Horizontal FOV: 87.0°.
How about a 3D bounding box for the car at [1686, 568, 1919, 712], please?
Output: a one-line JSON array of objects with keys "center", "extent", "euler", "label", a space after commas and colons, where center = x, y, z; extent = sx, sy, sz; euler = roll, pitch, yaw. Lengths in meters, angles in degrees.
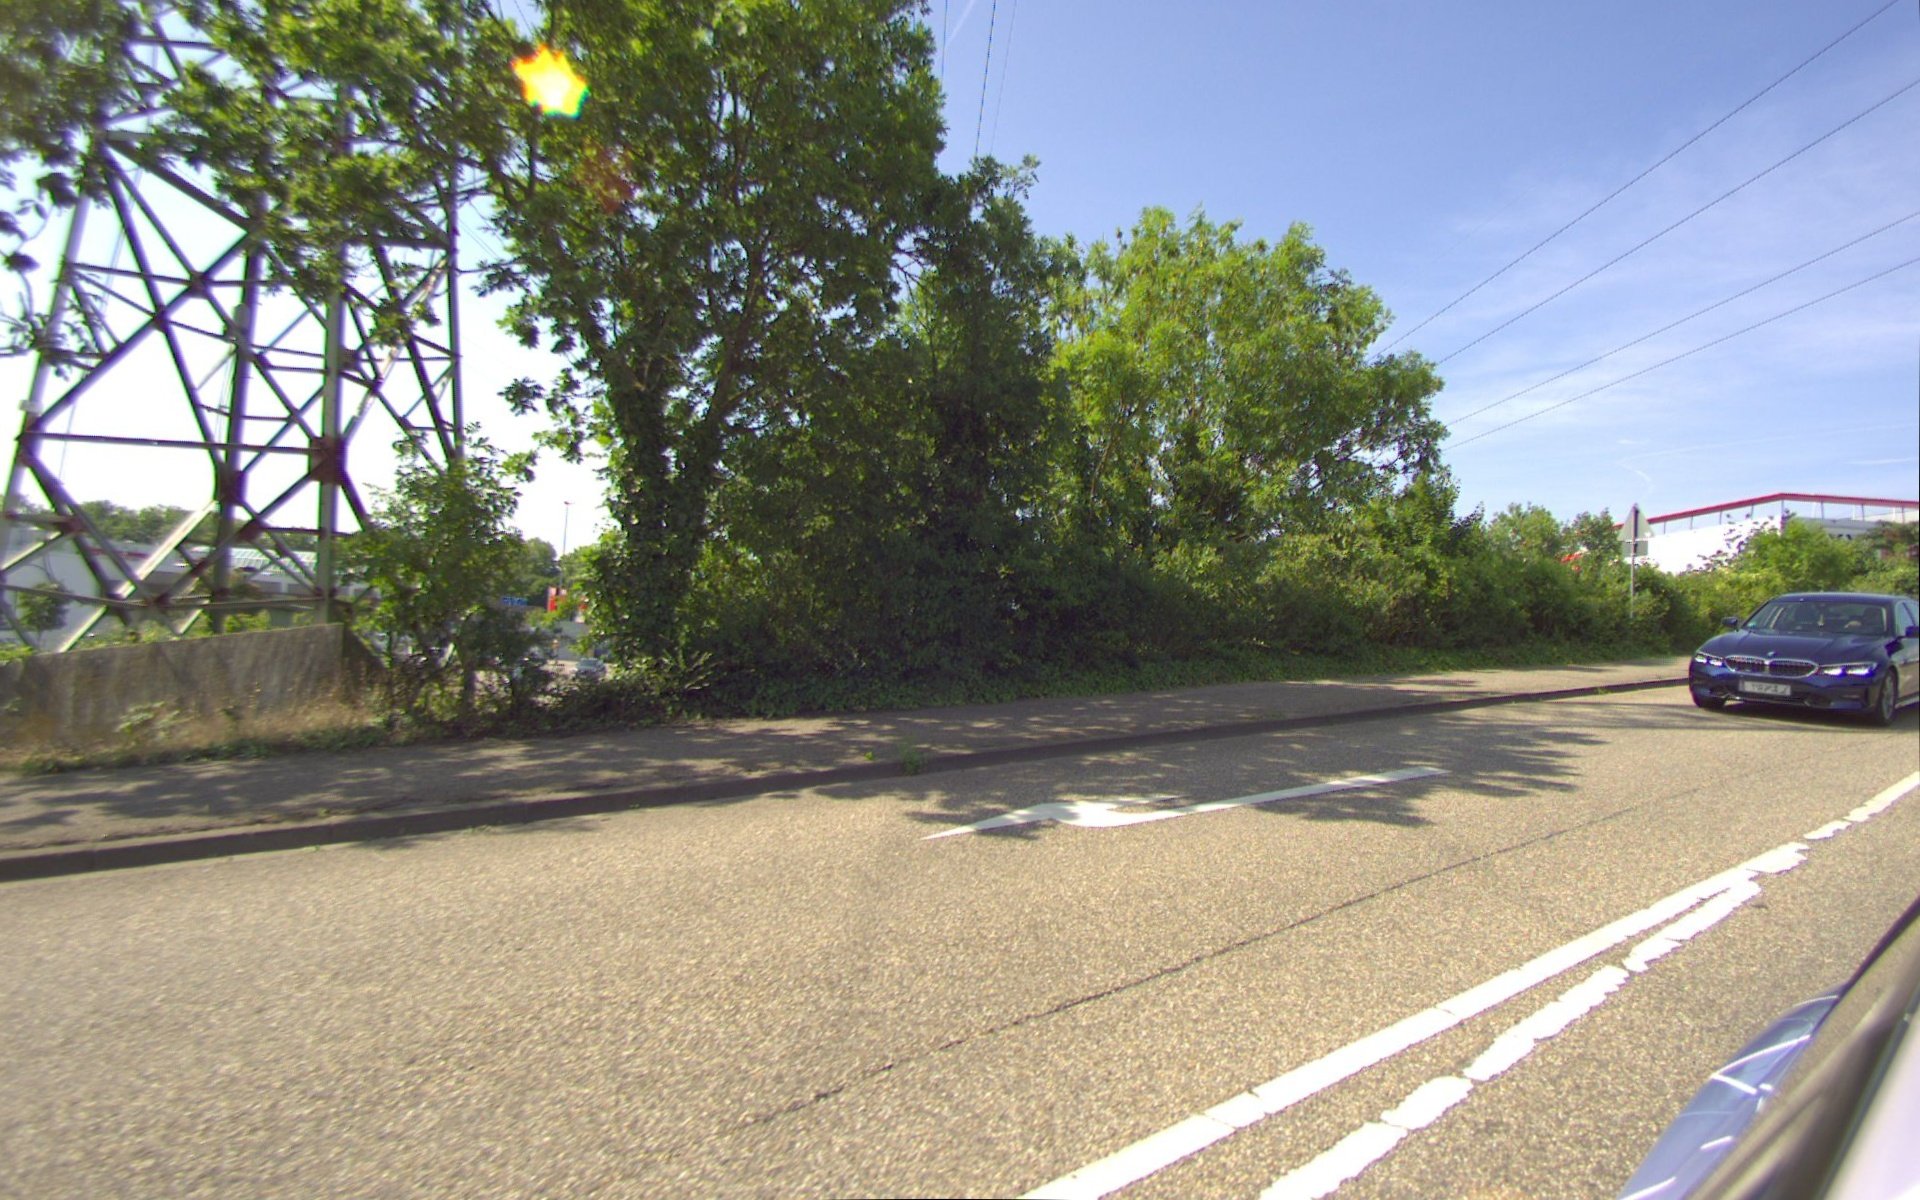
[{"center": [10.969, 0.556, 12.564], "extent": [4.432, 1.503, 1.793], "euler": [4, -3, -35], "label": "car"}]
